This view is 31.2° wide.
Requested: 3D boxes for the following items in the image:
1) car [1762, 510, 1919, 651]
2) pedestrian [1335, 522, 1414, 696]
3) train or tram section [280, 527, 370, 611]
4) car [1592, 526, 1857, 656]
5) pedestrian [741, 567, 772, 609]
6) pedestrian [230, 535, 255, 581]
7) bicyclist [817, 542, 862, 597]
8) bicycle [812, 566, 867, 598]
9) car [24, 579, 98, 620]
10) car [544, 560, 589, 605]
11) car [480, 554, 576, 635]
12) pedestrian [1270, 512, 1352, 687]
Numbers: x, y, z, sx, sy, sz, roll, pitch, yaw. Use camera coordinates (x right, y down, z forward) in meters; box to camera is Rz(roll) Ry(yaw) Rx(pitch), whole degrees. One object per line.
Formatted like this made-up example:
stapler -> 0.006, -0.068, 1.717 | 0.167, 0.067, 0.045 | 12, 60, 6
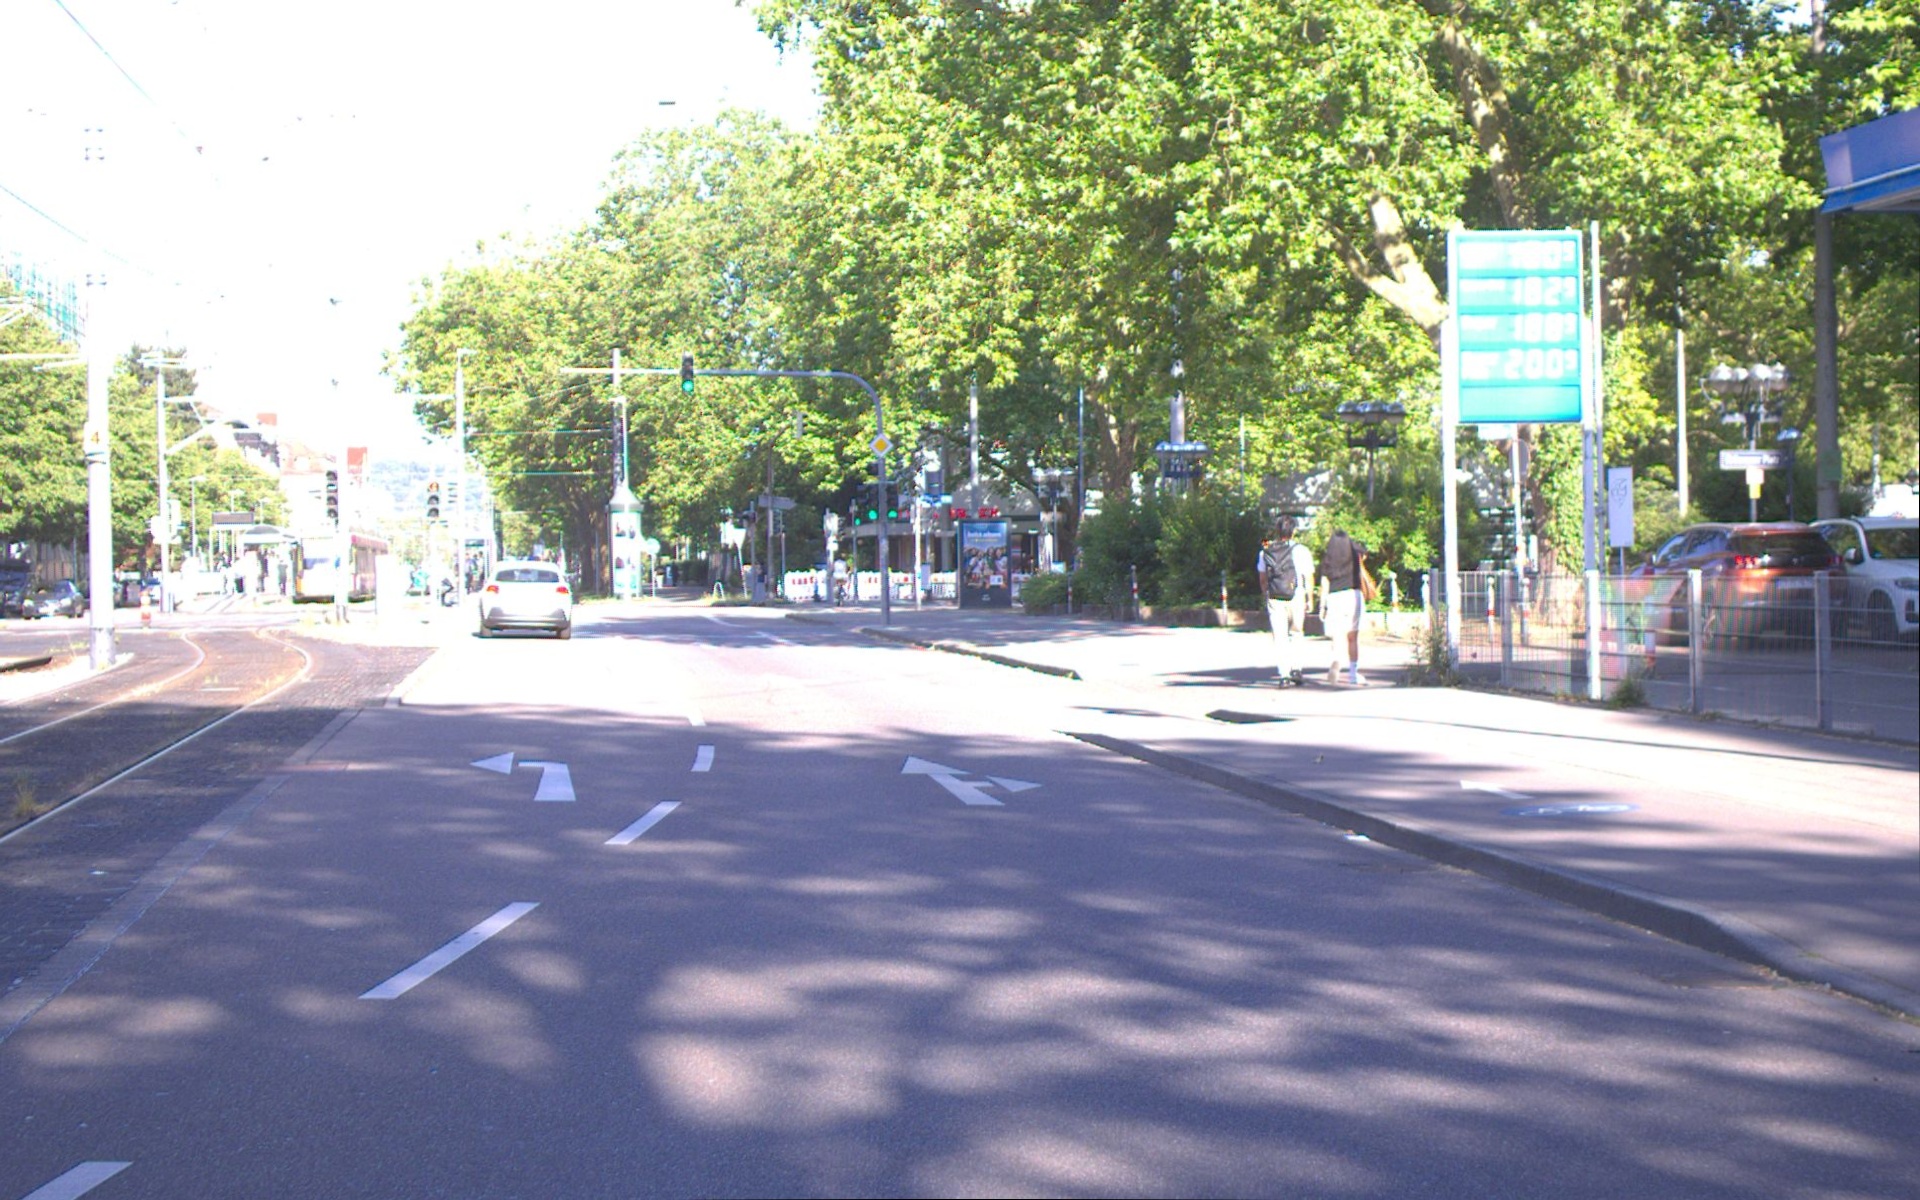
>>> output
car -> 12.325, -0.308, 45.361 | 1.859, 1.729, 4.800 | -1, 2, -7
pedestrian -> 4.341, 0.087, 36.027 | 0.603, 1.770, 0.690 | -4, 1, -3
train or tram section -> -27.247, -1.330, 147.903 | 2.951, 3.398, 10.793 | 2, 0, -7
car -> 10.116, -0.165, 45.858 | 1.817, 1.596, 4.664 | -1, 2, -10
pedestrian -> -6.843, -0.393, 115.651 | 0.660, 1.383, 0.831 | 2, 0, 25
pedestrian -> -29.495, -1.722, 141.311 | 0.962, 1.827, 0.990 | 2, 0, -13
bicyclist -> -3.781, -0.953, 107.776 | 1.198, 1.691, 0.904 | 2, 0, -13
bicycle -> -3.770, -0.578, 107.687 | 1.198, 0.931, 2.575 | 2, 0, -14
car -> -33.661, -0.036, 128.793 | 1.993, 1.444, 4.841 | 0, 1, -7
car -> -18.317, -0.830, 159.977 | 1.993, 2.007, 4.001 | 2, 0, -7
car -> -8.302, -0.122, 65.928 | 1.745, 1.457, 3.645 | 2, 1, -8
pedestrian -> 3.668, -0.009, 35.980 | 0.603, 1.770, 0.879 | -4, 1, -3
